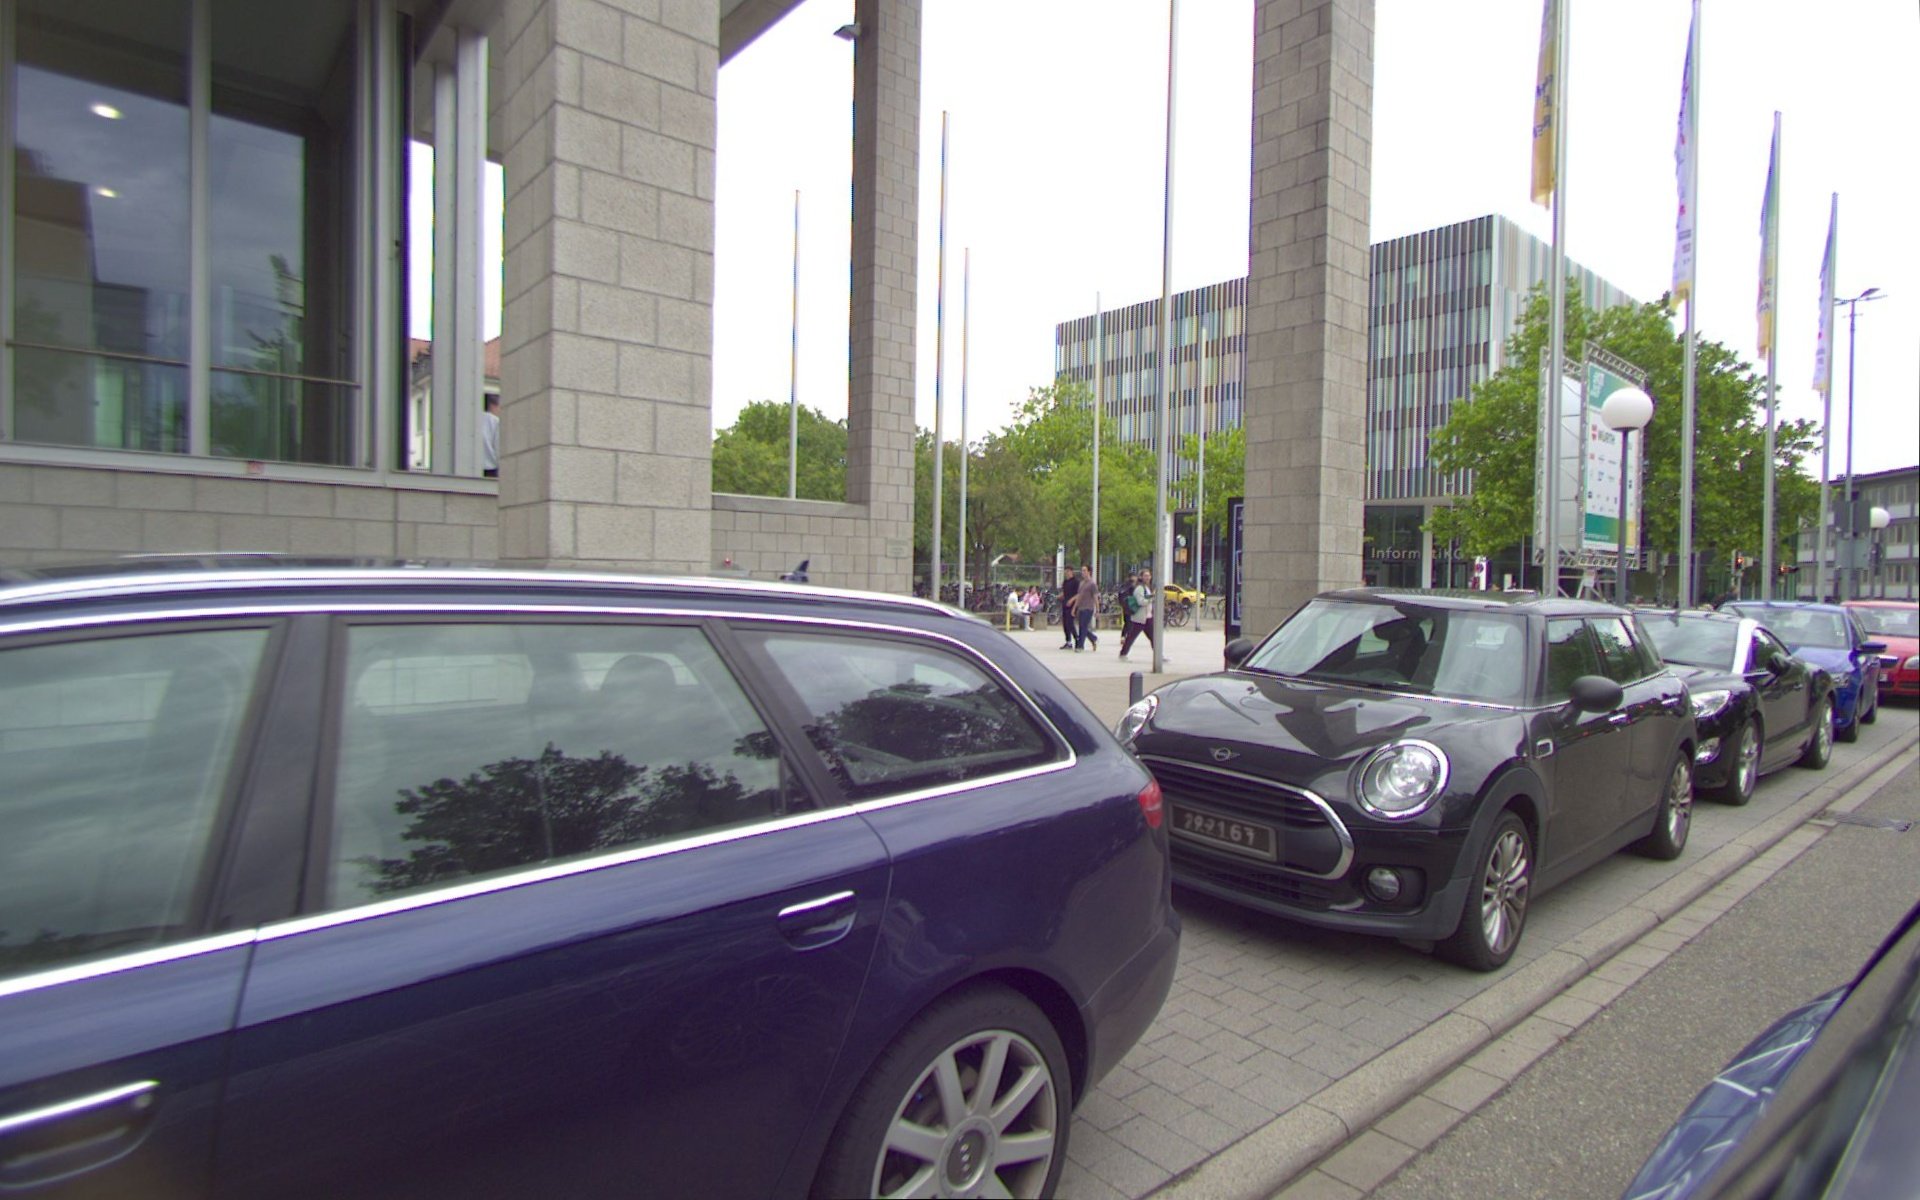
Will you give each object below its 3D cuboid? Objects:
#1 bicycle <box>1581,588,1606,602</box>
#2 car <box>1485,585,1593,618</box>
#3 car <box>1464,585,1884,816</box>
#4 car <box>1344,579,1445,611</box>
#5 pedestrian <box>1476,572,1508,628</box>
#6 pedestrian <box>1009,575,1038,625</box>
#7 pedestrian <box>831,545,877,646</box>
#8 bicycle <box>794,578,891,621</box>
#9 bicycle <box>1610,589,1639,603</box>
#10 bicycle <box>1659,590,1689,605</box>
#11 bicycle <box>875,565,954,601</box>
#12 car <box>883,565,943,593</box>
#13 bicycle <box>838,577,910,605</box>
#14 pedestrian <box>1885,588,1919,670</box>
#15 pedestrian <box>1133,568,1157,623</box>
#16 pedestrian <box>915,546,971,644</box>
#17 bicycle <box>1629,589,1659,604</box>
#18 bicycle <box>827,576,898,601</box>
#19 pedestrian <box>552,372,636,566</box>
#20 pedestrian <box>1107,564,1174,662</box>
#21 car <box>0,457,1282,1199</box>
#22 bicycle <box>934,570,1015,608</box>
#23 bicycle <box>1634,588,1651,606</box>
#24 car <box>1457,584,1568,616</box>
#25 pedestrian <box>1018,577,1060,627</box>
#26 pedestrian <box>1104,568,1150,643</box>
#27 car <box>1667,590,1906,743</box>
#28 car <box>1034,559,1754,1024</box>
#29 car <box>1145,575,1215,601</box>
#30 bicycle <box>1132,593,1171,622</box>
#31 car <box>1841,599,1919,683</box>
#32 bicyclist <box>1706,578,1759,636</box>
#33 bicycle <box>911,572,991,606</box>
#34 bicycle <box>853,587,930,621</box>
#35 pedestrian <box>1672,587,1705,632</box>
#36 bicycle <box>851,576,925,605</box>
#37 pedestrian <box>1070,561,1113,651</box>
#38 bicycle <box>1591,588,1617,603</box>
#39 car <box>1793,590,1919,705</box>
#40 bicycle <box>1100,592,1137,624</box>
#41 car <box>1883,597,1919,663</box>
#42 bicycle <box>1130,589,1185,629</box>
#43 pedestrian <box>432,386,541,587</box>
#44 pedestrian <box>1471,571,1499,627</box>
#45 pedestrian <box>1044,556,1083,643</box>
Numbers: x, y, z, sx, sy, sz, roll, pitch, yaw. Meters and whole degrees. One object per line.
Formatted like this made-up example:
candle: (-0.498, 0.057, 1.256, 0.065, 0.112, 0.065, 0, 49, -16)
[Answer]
bicycle: (44.807, -0.357, 71.629, 0.474, 0.947, 2.011, 0, 2, -1)
car: (28.898, 0.045, 50.565, 1.965, 1.508, 4.286, -1, 2, -41)
car: (6.216, 0.692, 8.613, 4.339, 1.460, 1.852, 2, 0, -40)
car: (24.333, -0.310, 56.806, 1.966, 1.683, 4.831, 0, 1, -42)
pedestrian: (16.749, -0.009, 31.869, 0.666, 1.737, 0.672, 0, 1, -41)
pedestrian: (1.826, -0.007, 29.200, 0.664, 1.430, 0.765, 1, 1, 18)
pedestrian: (-1.994, -0.086, 19.027, 0.609, 1.864, 0.592, 0, 1, -40)
bicycle: (-3.580, 0.000, 31.135, 3.051, 1.185, 0.621, 3, -2, -39)
bicycle: (46.576, -0.297, 70.978, 0.474, 0.947, 2.014, 0, 2, -9)
bicycle: (50.086, -0.190, 71.001, 0.474, 0.947, 2.014, 0, 2, -9)
bicycle: (-1.676, -0.635, 37.899, 3.051, 1.185, 0.747, 3, -2, -39)
car: (-3.021, -1.363, 65.664, 1.985, 1.774, 4.019, 2, 2, 32)
bicycle: (-4.077, -0.417, 48.269, 3.329, 1.185, 1.055, 3, -2, -35)
pedestrian: (21.505, 0.639, 22.766, 0.805, 1.809, 0.795, 0, 1, -29)
pedestrian: (6.249, -0.159, 34.172, 0.660, 1.856, 0.511, 1, 1, 0)
pedestrian: (-0.314, -0.109, 19.133, 0.760, 1.807, 0.727, 1, 1, 36)
bicycle: (47.895, -0.250, 70.874, 0.474, 0.947, 2.014, 0, 2, -9)
bicycle: (-4.713, -0.574, 49.175, 3.330, 1.184, 1.056, -1, 2, -35)
pedestrian: (-3.432, -1.189, 9.537, 0.618, 1.680, 0.808, 2, -2, -16)
pedestrian: (3.173, 0.233, 17.768, 0.735, 1.662, 0.916, 0, -2, 45)
car: (-1.696, 0.565, 1.649, 4.836, 1.470, 1.997, -1, 2, -41)
bicycle: (0.525, -0.358, 35.335, 3.051, 1.185, 0.747, 3, -2, -39)
bicycle: (43.384, -0.190, 64.343, 0.478, 1.058, 1.772, 1, 2, 20)
car: (32.177, -0.034, 59.041, 2.013, 1.719, 5.360, 3, -2, -44)
pedestrian: (2.352, 0.038, 30.066, 0.848, 1.438, 0.955, 2, 2, 38)
pedestrian: (3.853, 0.117, 23.314, 0.692, 1.690, 0.757, 1, 1, -39)
car: (9.962, 0.638, 12.067, 4.304, 1.429, 1.697, -1, 3, -44)
car: (2.612, 0.593, 5.436, 4.443, 1.461, 1.821, 0, 3, -42)
car: (14.717, -0.823, 67.877, 1.966, 1.638, 4.185, 0, 2, -43)
bicycle: (7.185, 0.274, 37.925, 0.456, 1.062, 1.904, 3, 2, 45)
car: (18.429, 0.738, 19.344, 3.791, 1.471, 1.864, 0, 1, -41)
bicyclist: (22.783, 0.208, 29.861, 0.852, 1.661, 0.876, 1, 0, 2)
bicycle: (-0.302, -0.385, 36.158, 3.052, 1.184, 0.747, 0, 1, -39)
bicycle: (-2.580, 0.170, 38.630, 3.051, 1.185, 0.747, 3, -2, -39)
pedestrian: (27.824, 0.343, 38.654, 0.778, 1.646, 0.758, -2, 4, -34)
bicycle: (-3.349, -0.409, 47.216, 3.329, 1.185, 1.055, 3, -2, -35)
pedestrian: (2.604, 0.101, 20.152, 0.635, 1.733, 0.783, 2, 2, -3)
bicycle: (45.531, -0.332, 71.566, 0.538, 0.947, 2.011, 0, 2, -1)
car: (14.342, 0.665, 15.500, 4.199, 1.491, 1.716, 0, 3, -41)
bicycle: (5.523, 0.274, 35.230, 0.454, 1.062, 1.911, 2, 1, 35)
car: (22.177, 0.724, 21.902, 1.846, 1.419, 4.444, 2, 2, 23)
bicycle: (6.284, 0.294, 32.159, 0.456, 1.185, 2.374, 0, -2, 45)
pedestrian: (-4.239, -0.976, 9.099, 0.790, 1.680, 0.632, 3, -2, -24)
pedestrian: (16.332, -0.037, 31.466, 0.647, 1.737, 0.584, 0, 1, -45)
pedestrian: (2.157, 0.003, 21.044, 0.683, 1.735, 0.906, 2, -2, 10)
